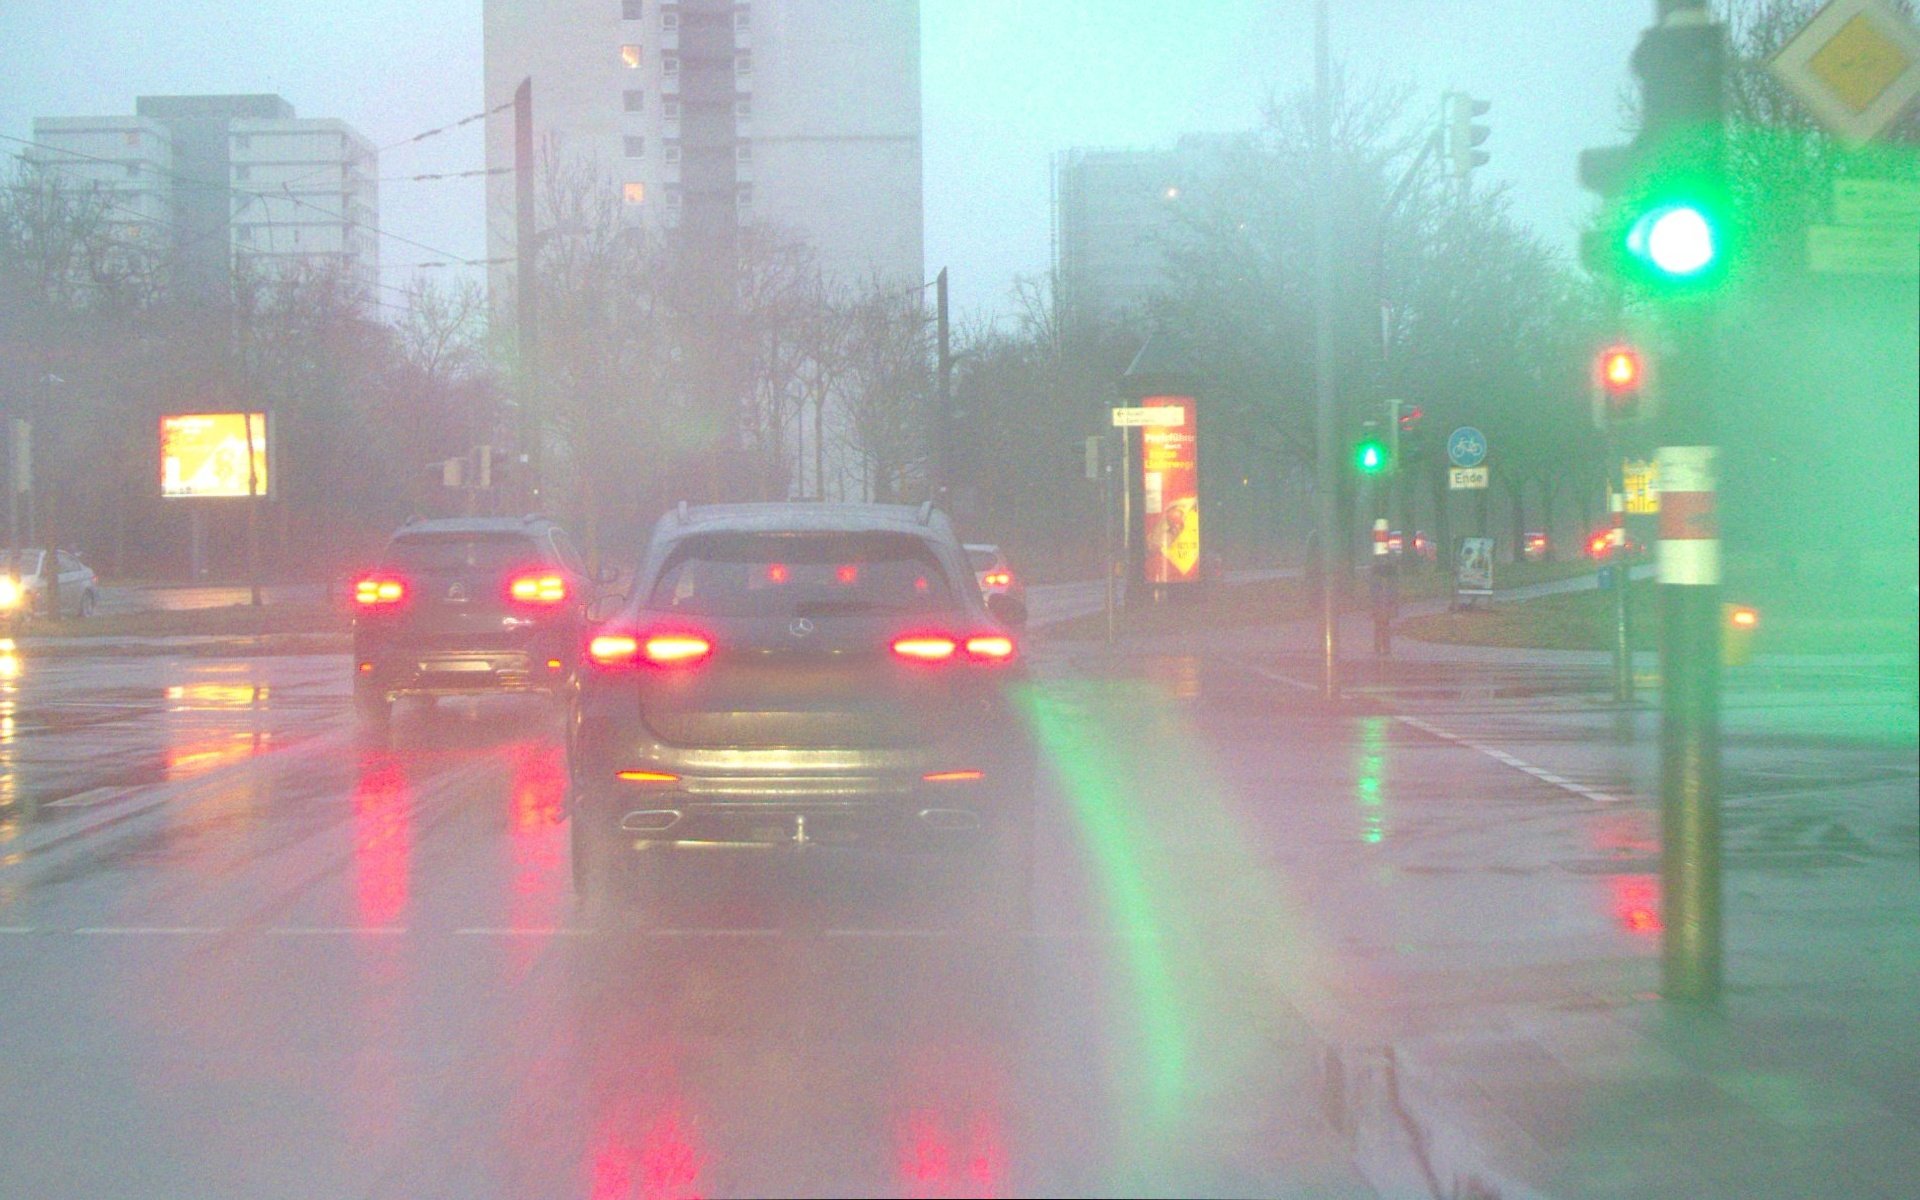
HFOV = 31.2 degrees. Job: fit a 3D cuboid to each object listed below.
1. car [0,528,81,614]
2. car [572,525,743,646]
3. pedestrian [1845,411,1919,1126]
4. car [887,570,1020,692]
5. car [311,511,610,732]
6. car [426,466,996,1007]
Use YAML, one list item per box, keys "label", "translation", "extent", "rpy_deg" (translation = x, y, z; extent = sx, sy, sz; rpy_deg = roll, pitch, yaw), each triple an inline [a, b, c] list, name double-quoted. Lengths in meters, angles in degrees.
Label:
- label: "car"
  translation: [-17.679, -0.523, 63.794]
  extent: [1.587, 1.524, 4.935]
  rpy_deg: [1, 0, -2]
- label: "car"
  translation: [-4.273, -0.202, 49.145]
  extent: [1.993, 1.636, 4.022]
  rpy_deg: [1, 0, 1]
- label: "pedestrian"
  translation: [2.783, 0.373, 8.637]
  extent: [0.797, 1.744, 0.860]
  rpy_deg: [-4, 1, 27]
- label: "car"
  translation: [-0.067, 0.493, 55.894]
  extent: [1.857, 1.885, 3.999]
  rpy_deg: [1, 0, 4]
- label: "car"
  translation: [-4.142, 0.170, 29.143]
  extent: [1.993, 1.706, 4.325]
  rpy_deg: [1, 0, -2]
- label: "car"
  translation: [-0.903, 0.502, 14.748]
  extent: [1.993, 1.969, 4.068]
  rpy_deg: [1, 0, 2]
